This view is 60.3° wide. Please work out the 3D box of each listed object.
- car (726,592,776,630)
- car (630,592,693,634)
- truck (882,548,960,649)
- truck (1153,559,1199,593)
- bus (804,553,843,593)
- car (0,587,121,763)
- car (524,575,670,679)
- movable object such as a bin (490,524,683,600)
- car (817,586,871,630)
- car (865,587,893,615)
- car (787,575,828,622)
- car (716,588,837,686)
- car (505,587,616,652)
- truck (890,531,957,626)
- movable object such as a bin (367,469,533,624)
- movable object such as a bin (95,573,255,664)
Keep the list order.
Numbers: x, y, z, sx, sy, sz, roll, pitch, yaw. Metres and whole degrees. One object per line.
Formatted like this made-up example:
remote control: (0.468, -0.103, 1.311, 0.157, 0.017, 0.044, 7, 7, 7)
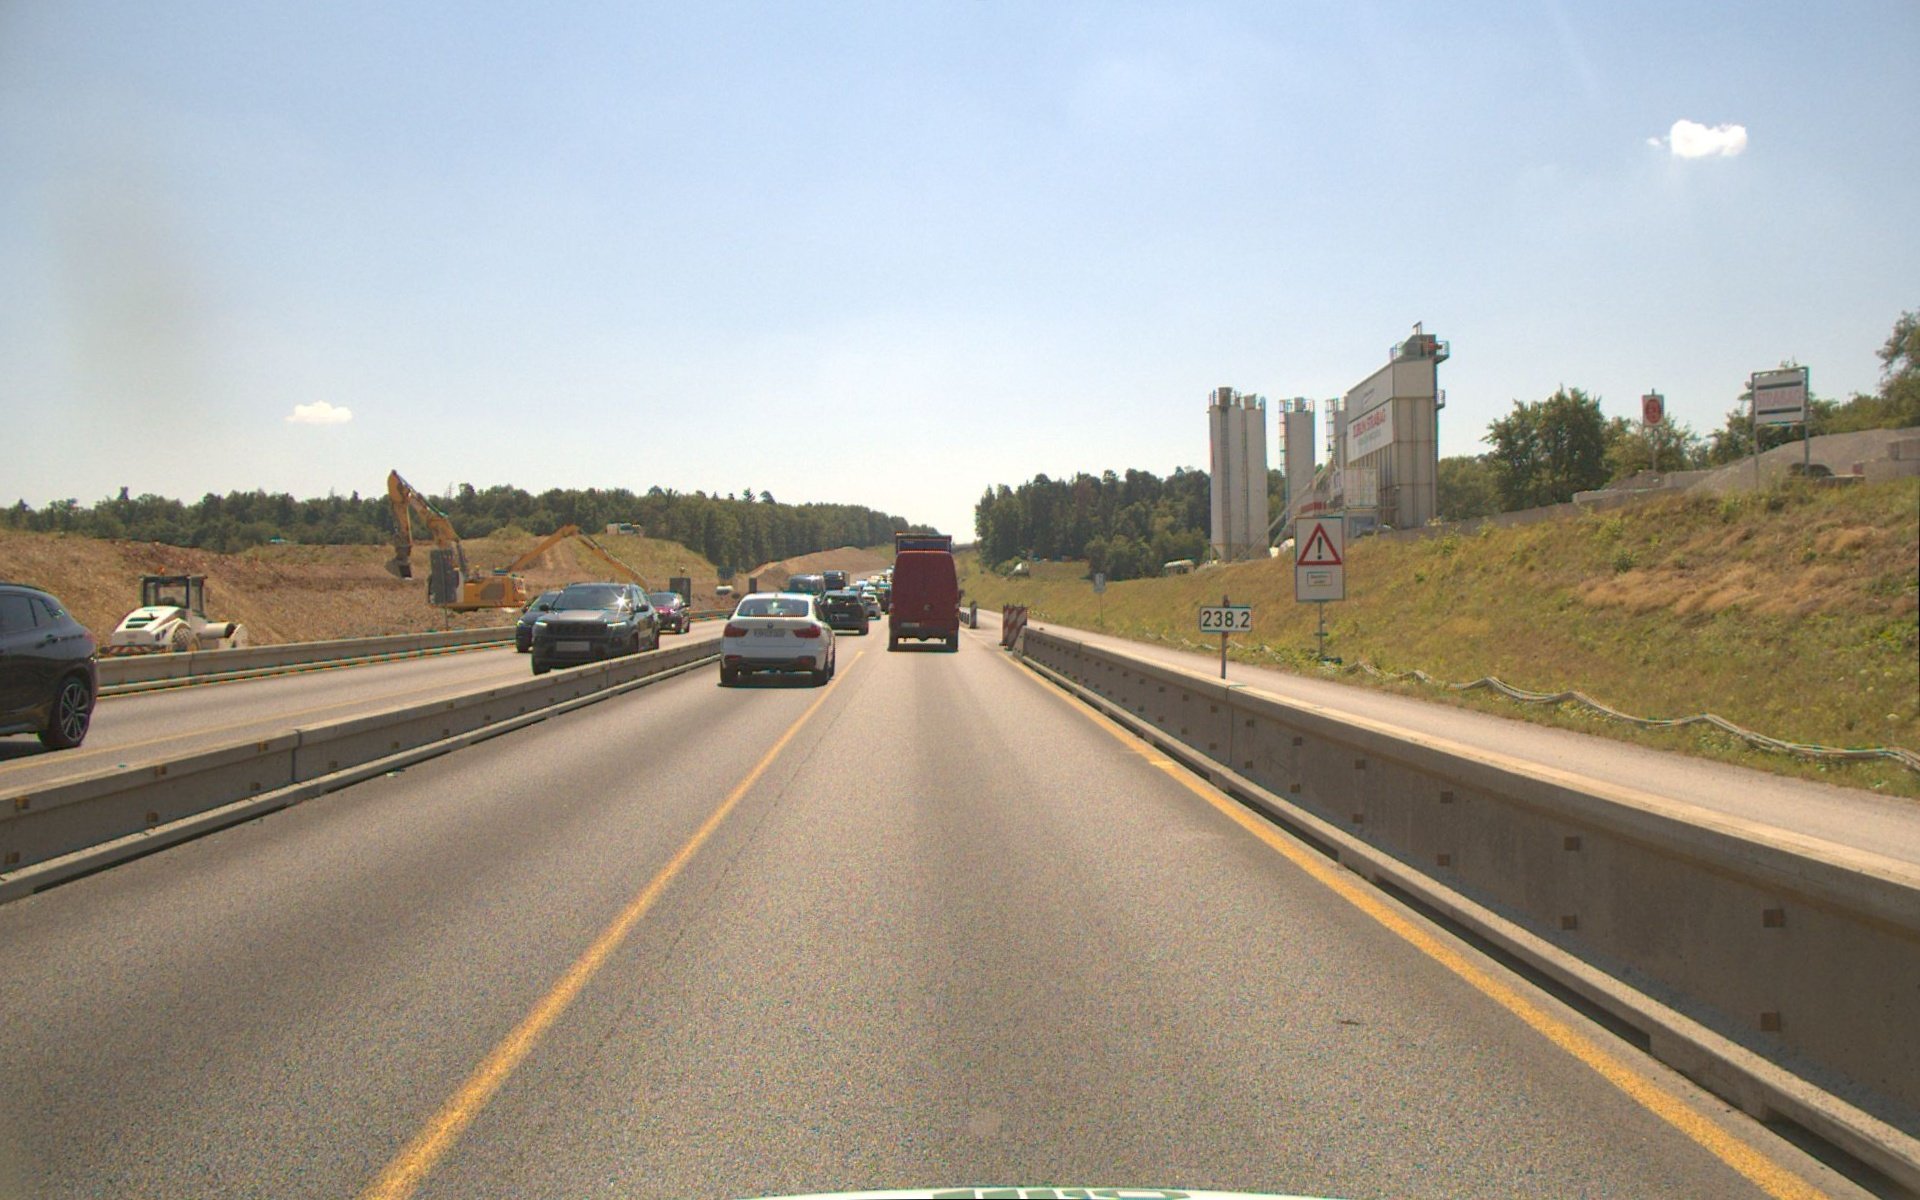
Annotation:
car: (-8.352, 0.425, 66.451, 1.644, 1.467, 4.669, 0, 0, -3)
car: (-10.952, 0.442, 60.980, 1.619, 1.467, 4.225, 0, 0, -1)
truck: (-1.104, -0.061, 47.722, 2.069, 2.679, 6.483, 0, 0, -1)
truck: (20.690, -2.284, 158.176, 2.837, 3.167, 6.011, 0, 0, 22)
bus: (-16.242, -3.136, 198.021, 3.864, 4.492, 17.192, 0, 0, -2)
car: (-9.071, 0.651, 14.122, 1.690, 1.504, 4.391, 0, 0, -2)
car: (-6.681, 0.450, 30.986, 1.736, 1.772, 5.037, 0, 0, -2)
movable object such as a bin: (-37.075, -3.771, 164.758, 18.340, 7.357, 3.613, -1, 0, -4)
car: (-4.281, 0.265, 61.329, 1.758, 1.561, 3.930, 0, 0, -1)
car: (-5.998, 0.084, 123.172, 1.953, 2.049, 3.999, 0, 0, -1)
car: (-8.548, -0.103, 92.987, 1.916, 2.511, 5.356, 0, 0, -2)
car: (-3.150, 0.595, 29.241, 1.759, 1.561, 5.071, 0, 0, -2)
car: (-10.093, 0.457, 42.130, 1.823, 1.527, 4.575, 0, 0, -2)
truck: (-1.709, -1.002, 78.451, 2.954, 4.225, 8.271, 0, 0, -1)
movable object such as a bin: (-26.484, -2.763, 86.120, 7.481, 7.848, 3.445, 0, 0, 0)
movable object such as a bin: (-23.227, 0.493, 49.284, 1.667, 2.504, 6.742, 0, 0, -1)
